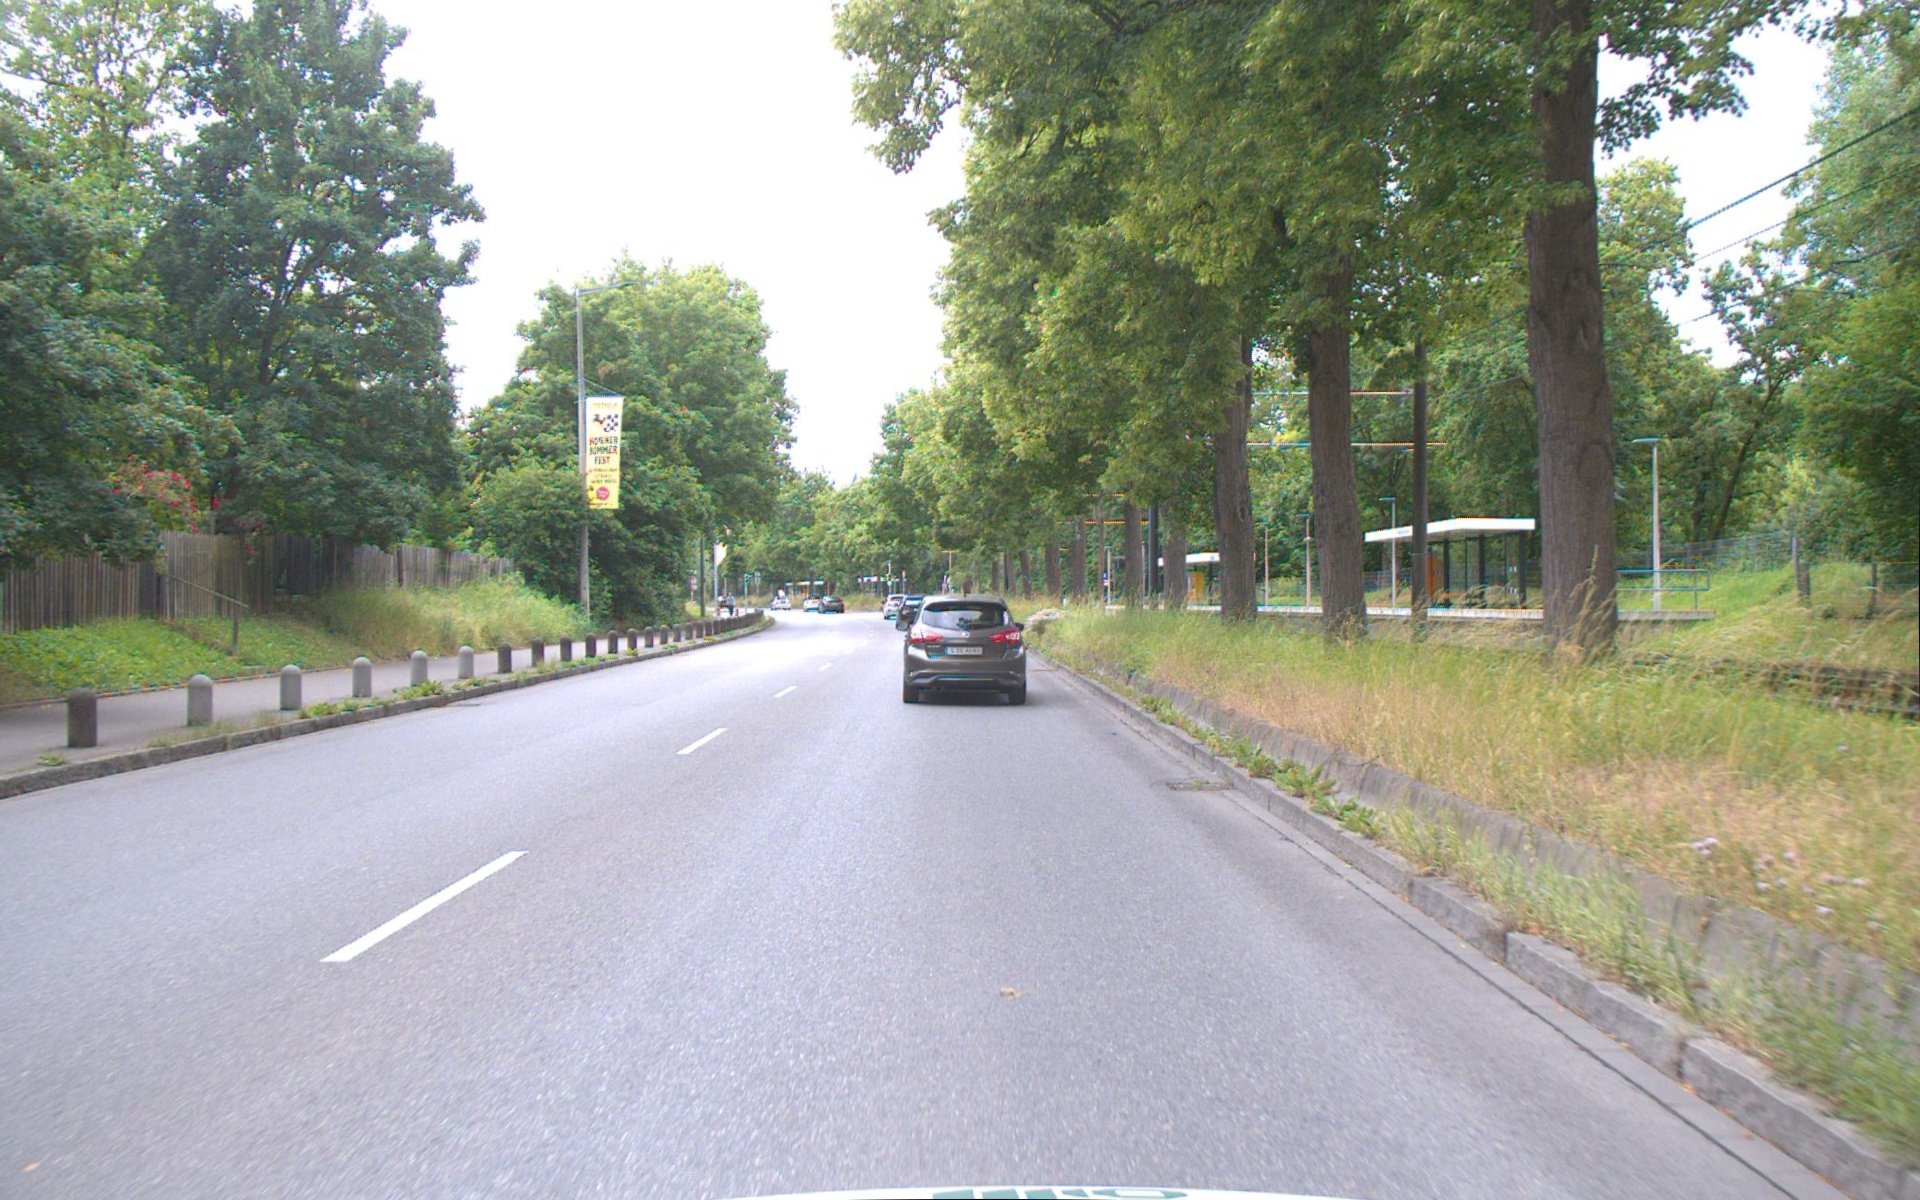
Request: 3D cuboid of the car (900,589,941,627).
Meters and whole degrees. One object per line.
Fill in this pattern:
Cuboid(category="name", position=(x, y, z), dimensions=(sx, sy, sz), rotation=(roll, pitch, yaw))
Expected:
Cuboid(category="car", position=(-1.690, 0.324, 70.981), dimensions=(1.695, 1.564, 3.551), rotation=(1, 0, -2))

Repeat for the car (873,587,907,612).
Cuboid(category="car", position=(-4.274, -0.065, 100.718), dimensions=(1.533, 1.466, 3.542), rotation=(1, 0, -11))

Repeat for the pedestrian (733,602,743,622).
Cuboid(category="pedestrian", position=(-16.039, 0.864, 119.388), dimensions=(0.707, 1.392, 0.653), rotation=(1, 0, -9))

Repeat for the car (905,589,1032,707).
Cuboid(category="car", position=(0.072, 0.640, 24.240), dimensions=(1.695, 1.564, 3.551), rotation=(1, 0, -2))

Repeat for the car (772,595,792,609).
Cuboid(category="car", position=(-19.072, 0.197, 176.870), dimensions=(1.536, 1.466, 3.537), rotation=(1, 0, -15))

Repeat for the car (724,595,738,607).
Cuboid(category="car", position=(-28.916, 0.079, 208.745), dimensions=(1.533, 1.466, 3.542), rotation=(1, 0, -11))

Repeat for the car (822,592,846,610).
Cuboid(category="car", position=(-10.620, 0.091, 139.268), dimensions=(1.534, 1.466, 3.541), rotation=(1, 0, -12))

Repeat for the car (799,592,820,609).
Cuboid(category="car", position=(-14.009, 0.040, 154.223), dimensions=(1.534, 1.466, 3.541), rotation=(1, 0, -12))
